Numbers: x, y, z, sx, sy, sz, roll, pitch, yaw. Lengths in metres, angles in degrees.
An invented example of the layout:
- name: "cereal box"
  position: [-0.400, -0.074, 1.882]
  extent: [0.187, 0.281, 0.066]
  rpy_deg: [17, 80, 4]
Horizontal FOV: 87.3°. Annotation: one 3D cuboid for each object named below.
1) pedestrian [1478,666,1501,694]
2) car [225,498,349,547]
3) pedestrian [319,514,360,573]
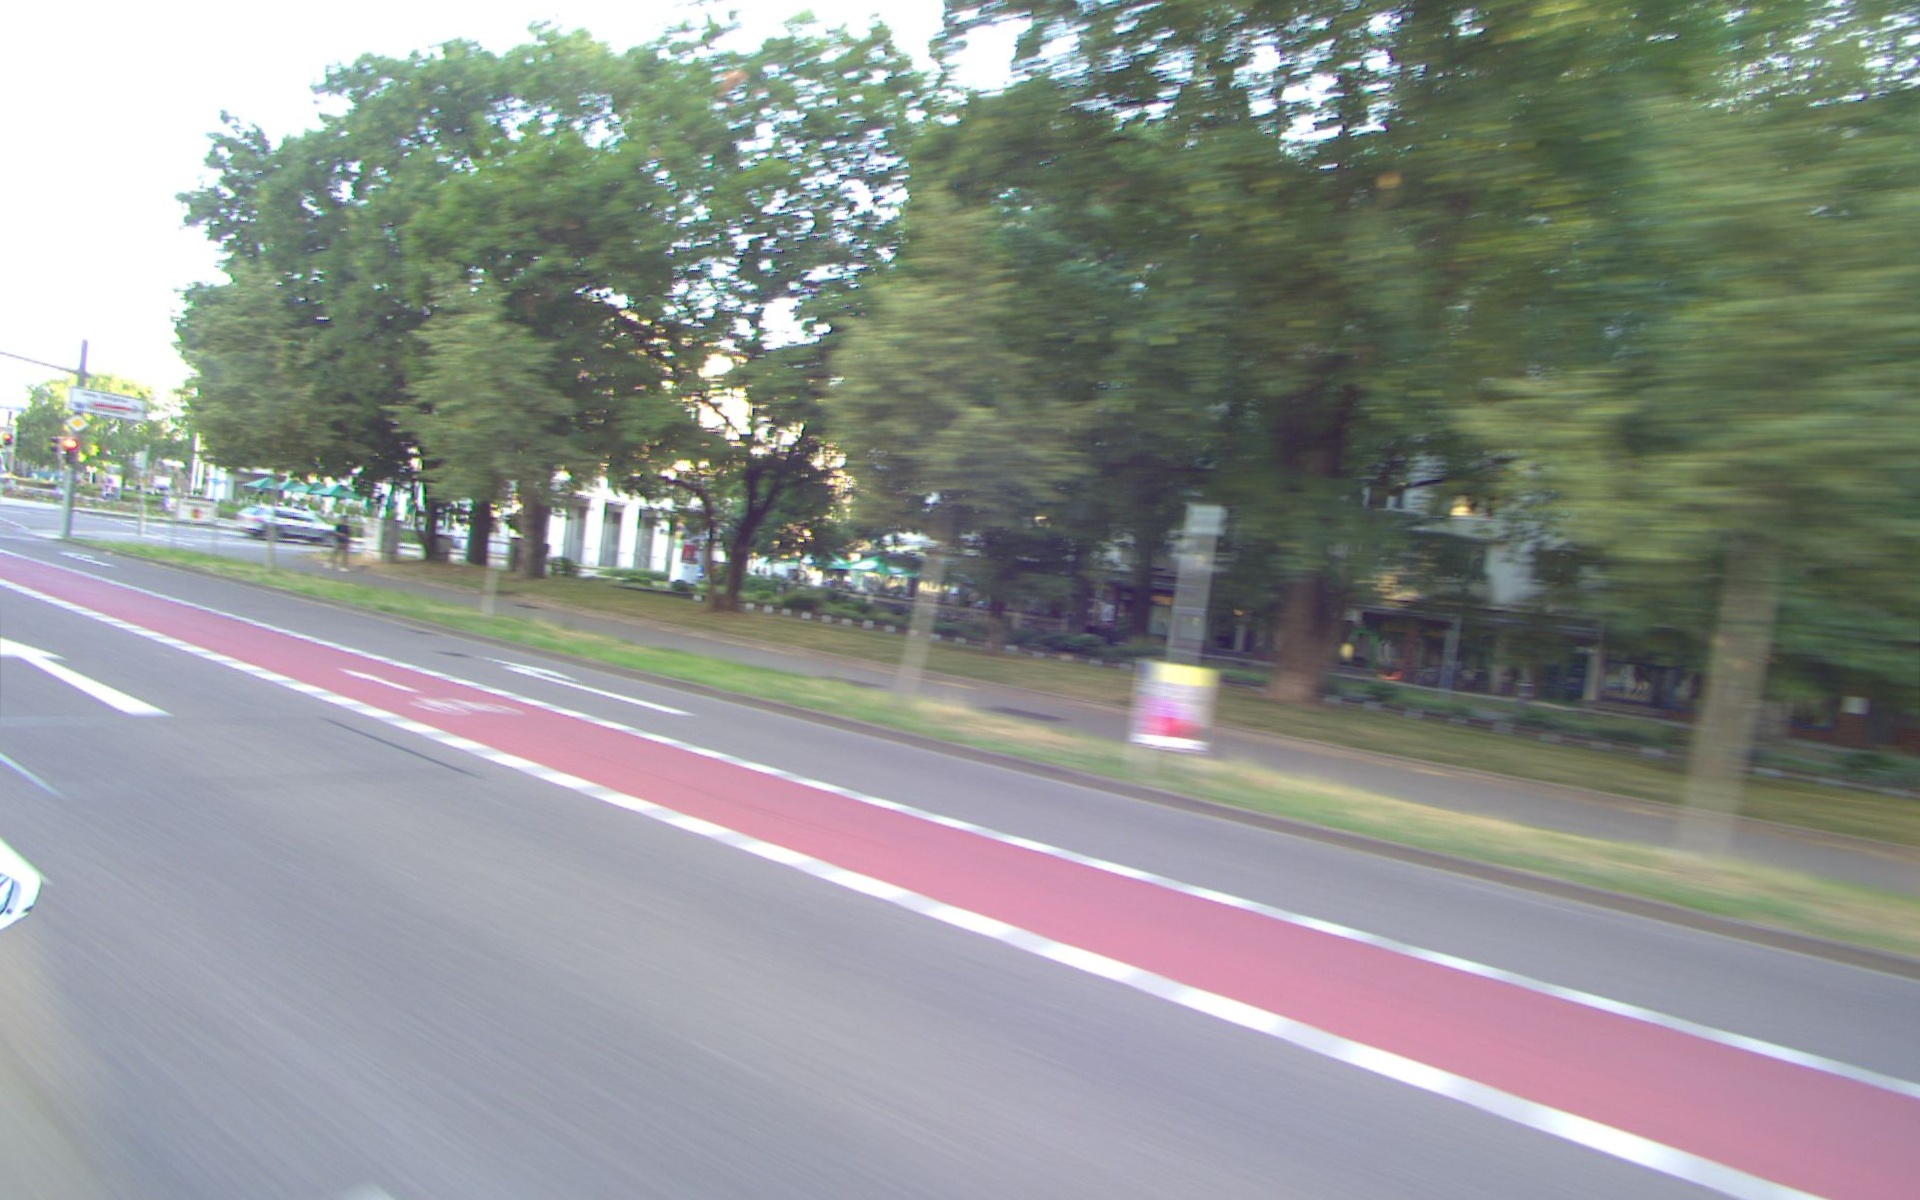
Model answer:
- name: "pedestrian"
  position: [23.999, 3.638, 45.613]
  extent: [0.689, 1.179, 0.786]
  rpy_deg: [8, 1, 35]
- name: "car"
  position: [-32.674, -3.749, 48.990]
  extent: [1.965, 1.668, 4.543]
  rpy_deg: [8, 0, 26]
- name: "pedestrian"
  position: [-19.079, -1.733, 30.930]
  extent: [0.736, 1.715, 0.695]
  rpy_deg: [8, 2, 33]
